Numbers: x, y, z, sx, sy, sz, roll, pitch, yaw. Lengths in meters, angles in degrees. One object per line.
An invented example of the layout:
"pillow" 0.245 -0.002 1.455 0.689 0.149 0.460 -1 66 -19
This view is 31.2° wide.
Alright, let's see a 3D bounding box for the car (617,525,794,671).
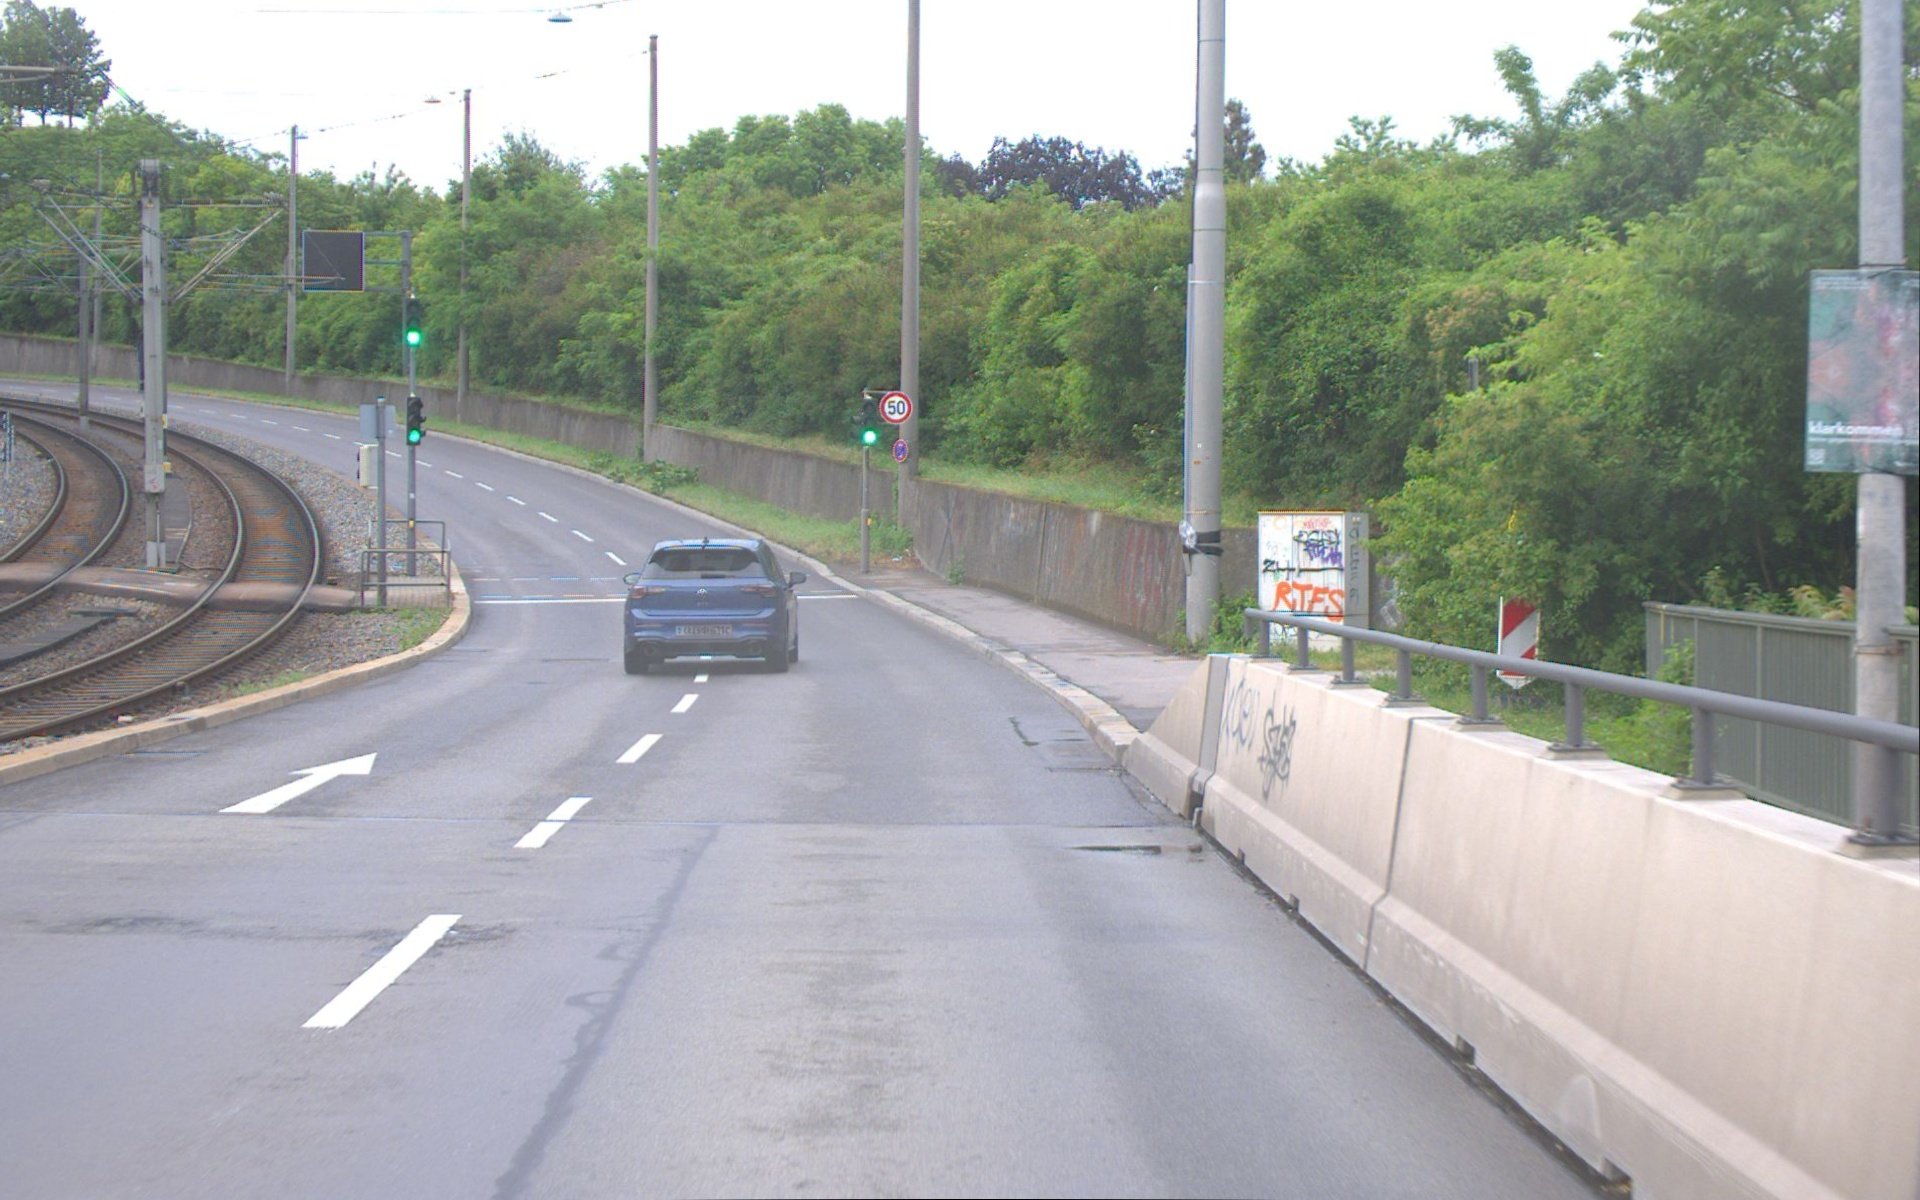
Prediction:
"car" -2.751 -0.044 37.904 1.763 1.496 4.000 1 1 -2
